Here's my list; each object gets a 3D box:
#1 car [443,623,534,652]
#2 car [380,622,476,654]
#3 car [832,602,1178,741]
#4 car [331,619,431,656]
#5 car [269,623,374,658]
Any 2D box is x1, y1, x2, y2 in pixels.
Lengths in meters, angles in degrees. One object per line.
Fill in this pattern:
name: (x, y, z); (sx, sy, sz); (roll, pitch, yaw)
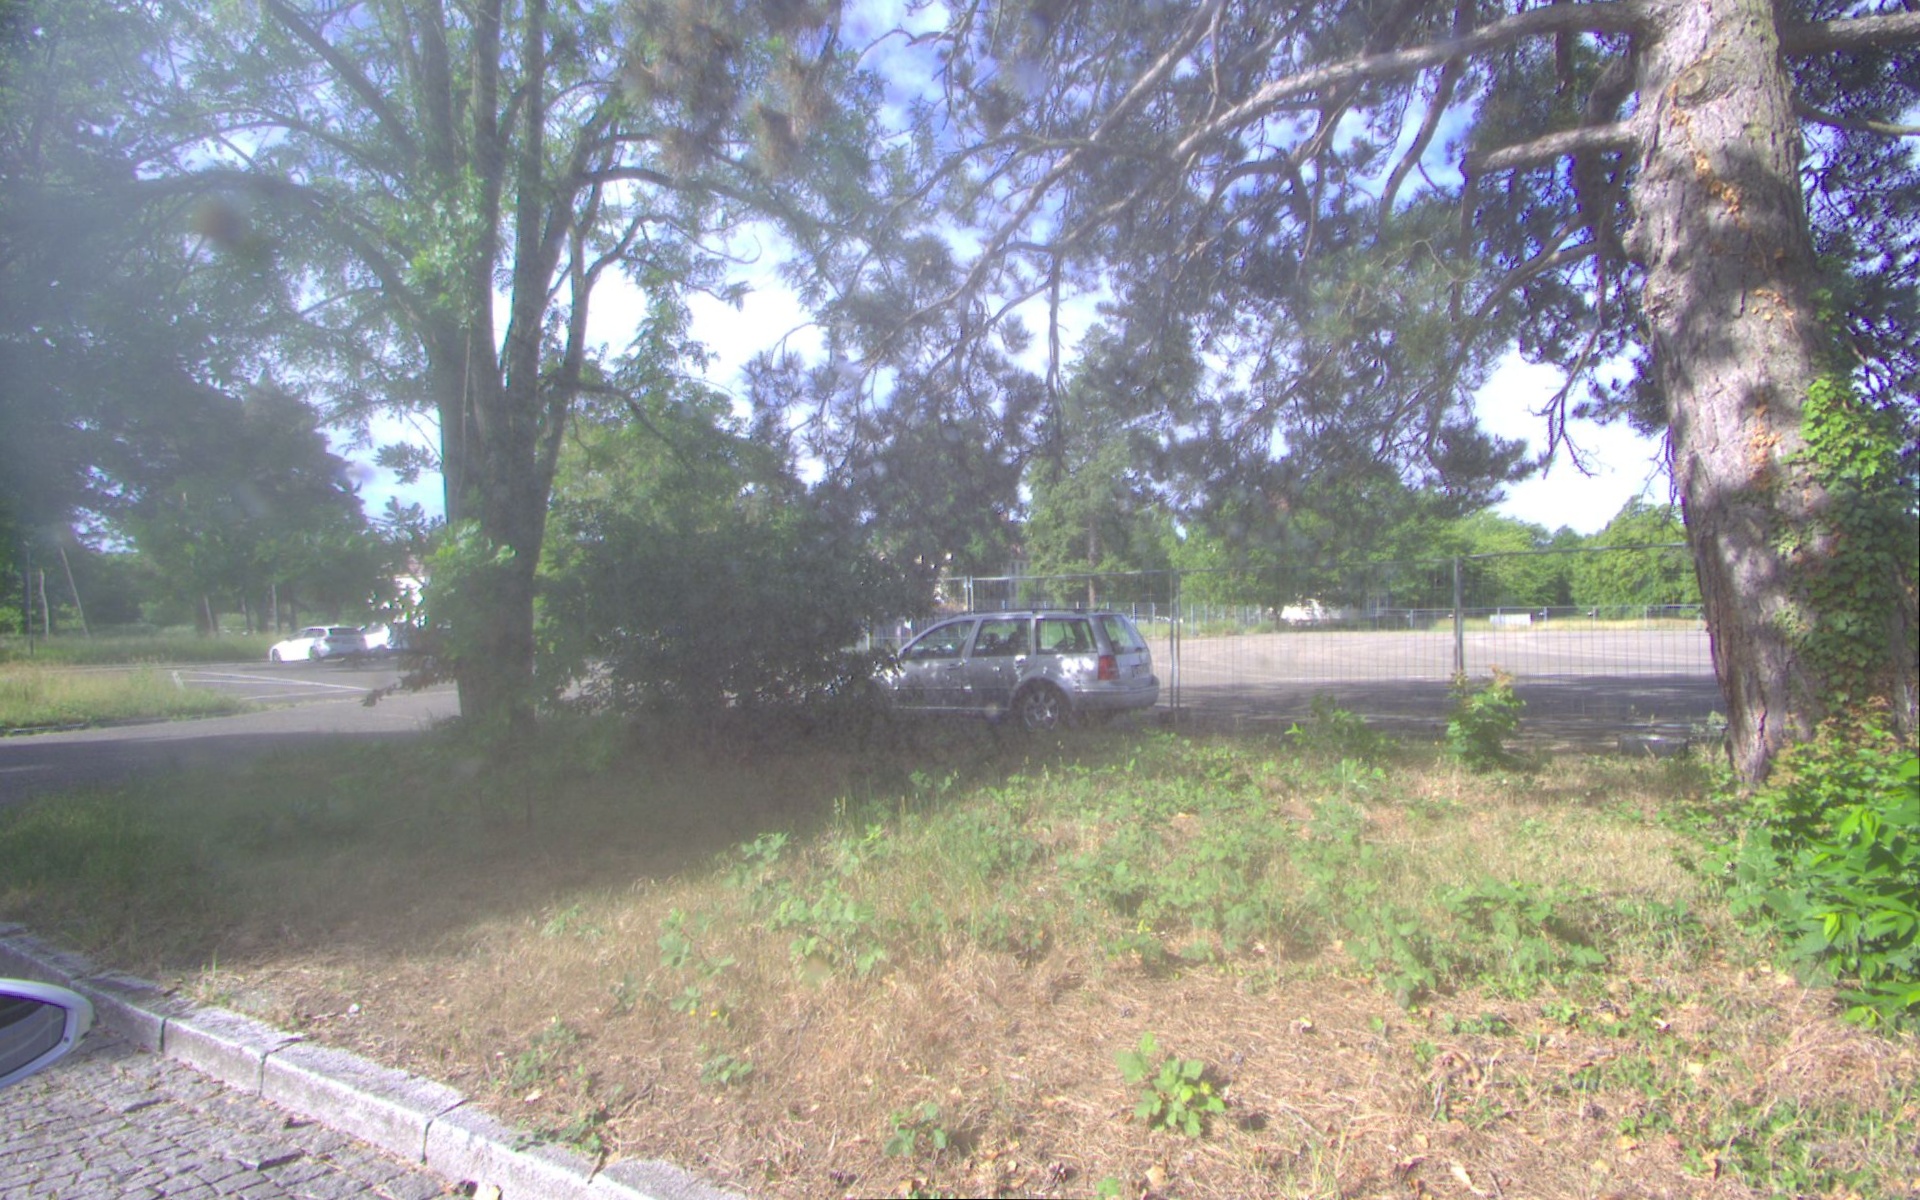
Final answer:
car: (-22.483, 1.766, 47.676); (4.265, 1.329, 1.729); (-1, 0, 28)
car: (-23.904, 1.683, 44.957); (4.265, 1.329, 1.729); (-1, 0, 28)
car: (0.523, 0.806, 12.363); (3.938, 1.487, 1.666); (-1, -1, 28)
car: (-24.763, 1.604, 42.792); (4.265, 1.496, 1.729); (-1, -1, 28)
car: (-25.808, 1.603, 40.476); (4.265, 1.329, 1.729); (-1, -1, 28)
